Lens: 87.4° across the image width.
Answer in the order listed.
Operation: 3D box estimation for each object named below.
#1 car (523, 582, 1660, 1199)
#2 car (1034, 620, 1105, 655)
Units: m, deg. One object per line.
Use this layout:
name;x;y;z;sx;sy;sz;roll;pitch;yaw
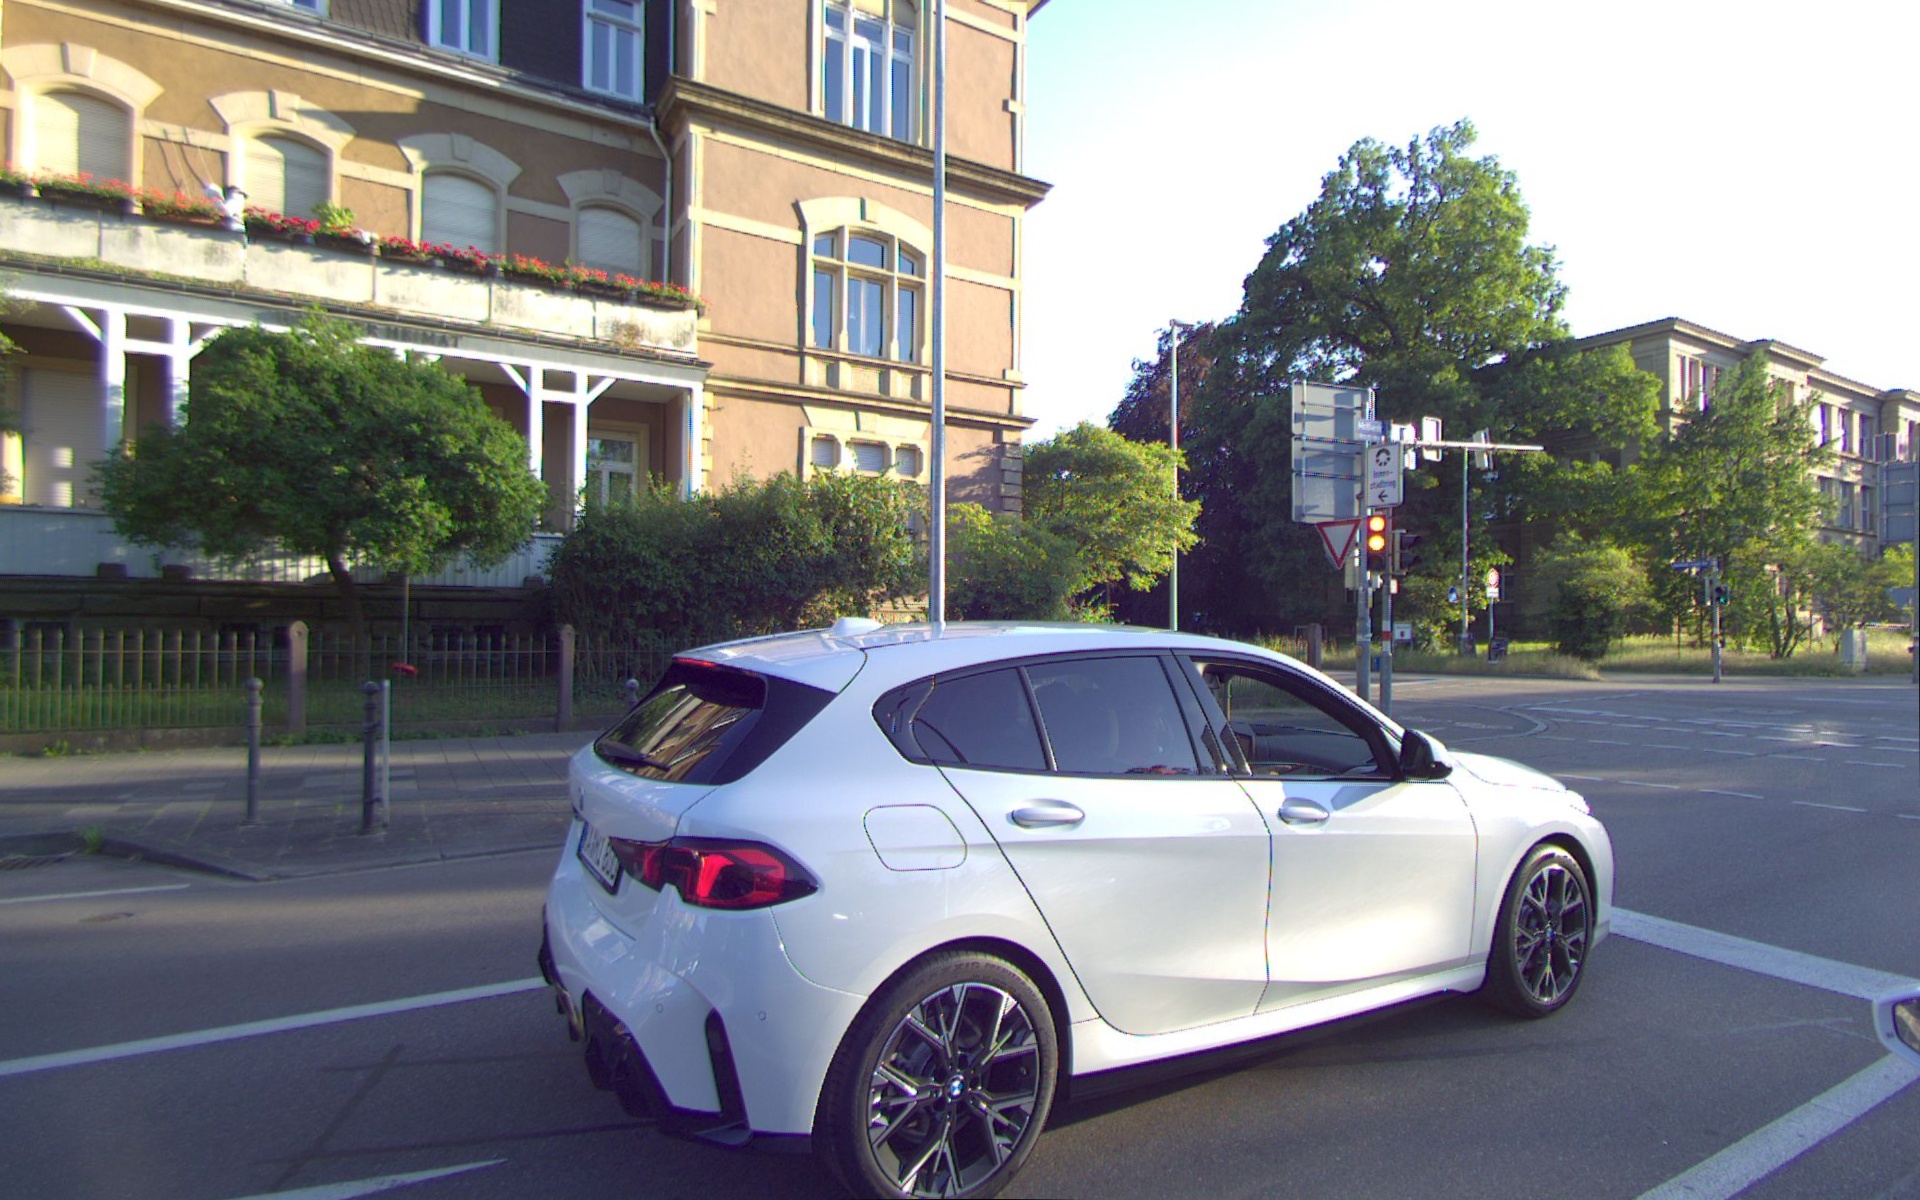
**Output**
car;0.694;0.769;3.831;4.141;1.485;1.743;1;-2;-31
car;6.063;2.076;55.915;1.841;1.870;4.087;1;-2;-30
